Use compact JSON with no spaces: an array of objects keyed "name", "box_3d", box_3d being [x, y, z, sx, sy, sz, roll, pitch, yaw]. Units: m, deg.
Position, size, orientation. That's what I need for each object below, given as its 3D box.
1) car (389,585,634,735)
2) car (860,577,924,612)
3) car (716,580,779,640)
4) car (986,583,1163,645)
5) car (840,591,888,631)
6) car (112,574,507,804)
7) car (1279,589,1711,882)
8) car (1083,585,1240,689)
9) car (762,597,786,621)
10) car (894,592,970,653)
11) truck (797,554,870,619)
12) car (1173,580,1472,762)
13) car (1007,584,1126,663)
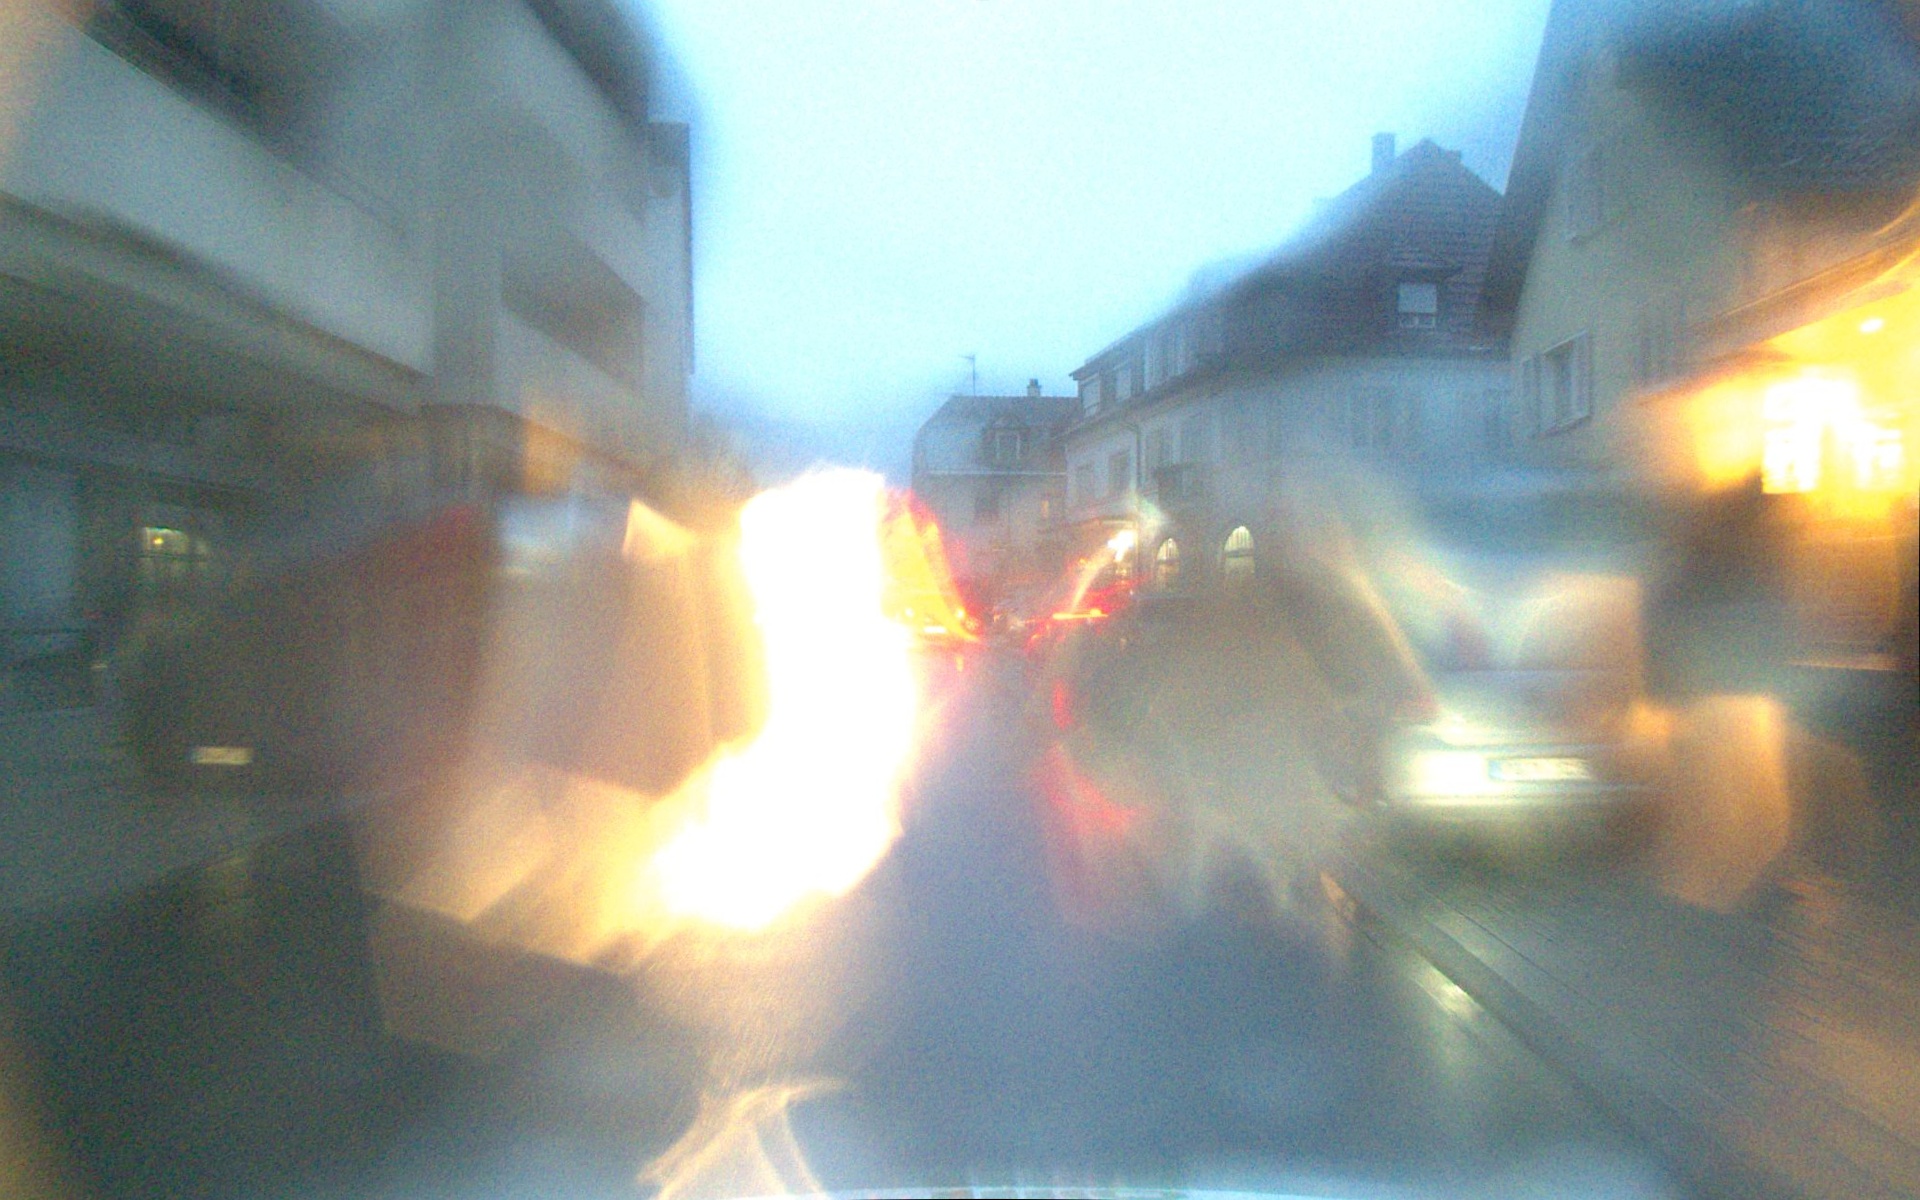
[{"name":"car","box_3d":[-4.963,0.590,18.913,1.641,1.472,4.427,1,0,-1]},{"name":"car","box_3d":[-4.308,-0.336,105.624,4.014,2.200,1.913,0,0,-1]},{"name":"car","box_3d":[-6.315,0.275,49.064,1.760,1.671,3.806,1,1,-8]},{"name":"car","box_3d":[3.025,0.351,44.158,4.384,1.499,1.894,-2,1,-9]},{"name":"car","box_3d":[-3.802,0.404,65.396,1.607,1.507,3.265,1,0,-8]},{"name":"car","box_3d":[-5.061,0.608,13.463,1.582,1.559,3.928,1,0,1]},{"name":"car","box_3d":[3.170,0.705,10.573,1.593,1.466,3.801,-2,0,2]},{"name":"car","box_3d":[3.173,0.538,26.911,1.758,1.486,4.528,-2,0,-3]},{"name":"car","box_3d":[-12.834,0.625,113.916,1.607,1.562,3.400,1,0,-8]},{"name":"car","box_3d":[-0.758,0.564,43.172,1.607,1.507,3.373,1,0,-7]},{"name":"truck","box_3d":[-6.618,-0.693,85.672,2.961,3.183,7.981,1,0,-10]},{"name":"car","box_3d":[3.334,0.586,16.162,1.786,1.448,4.607,-2,0,-1]},{"name":"car","box_3d":[2.236,0.452,35.877,1.846,1.574,4.666,-1,1,-5]}]
